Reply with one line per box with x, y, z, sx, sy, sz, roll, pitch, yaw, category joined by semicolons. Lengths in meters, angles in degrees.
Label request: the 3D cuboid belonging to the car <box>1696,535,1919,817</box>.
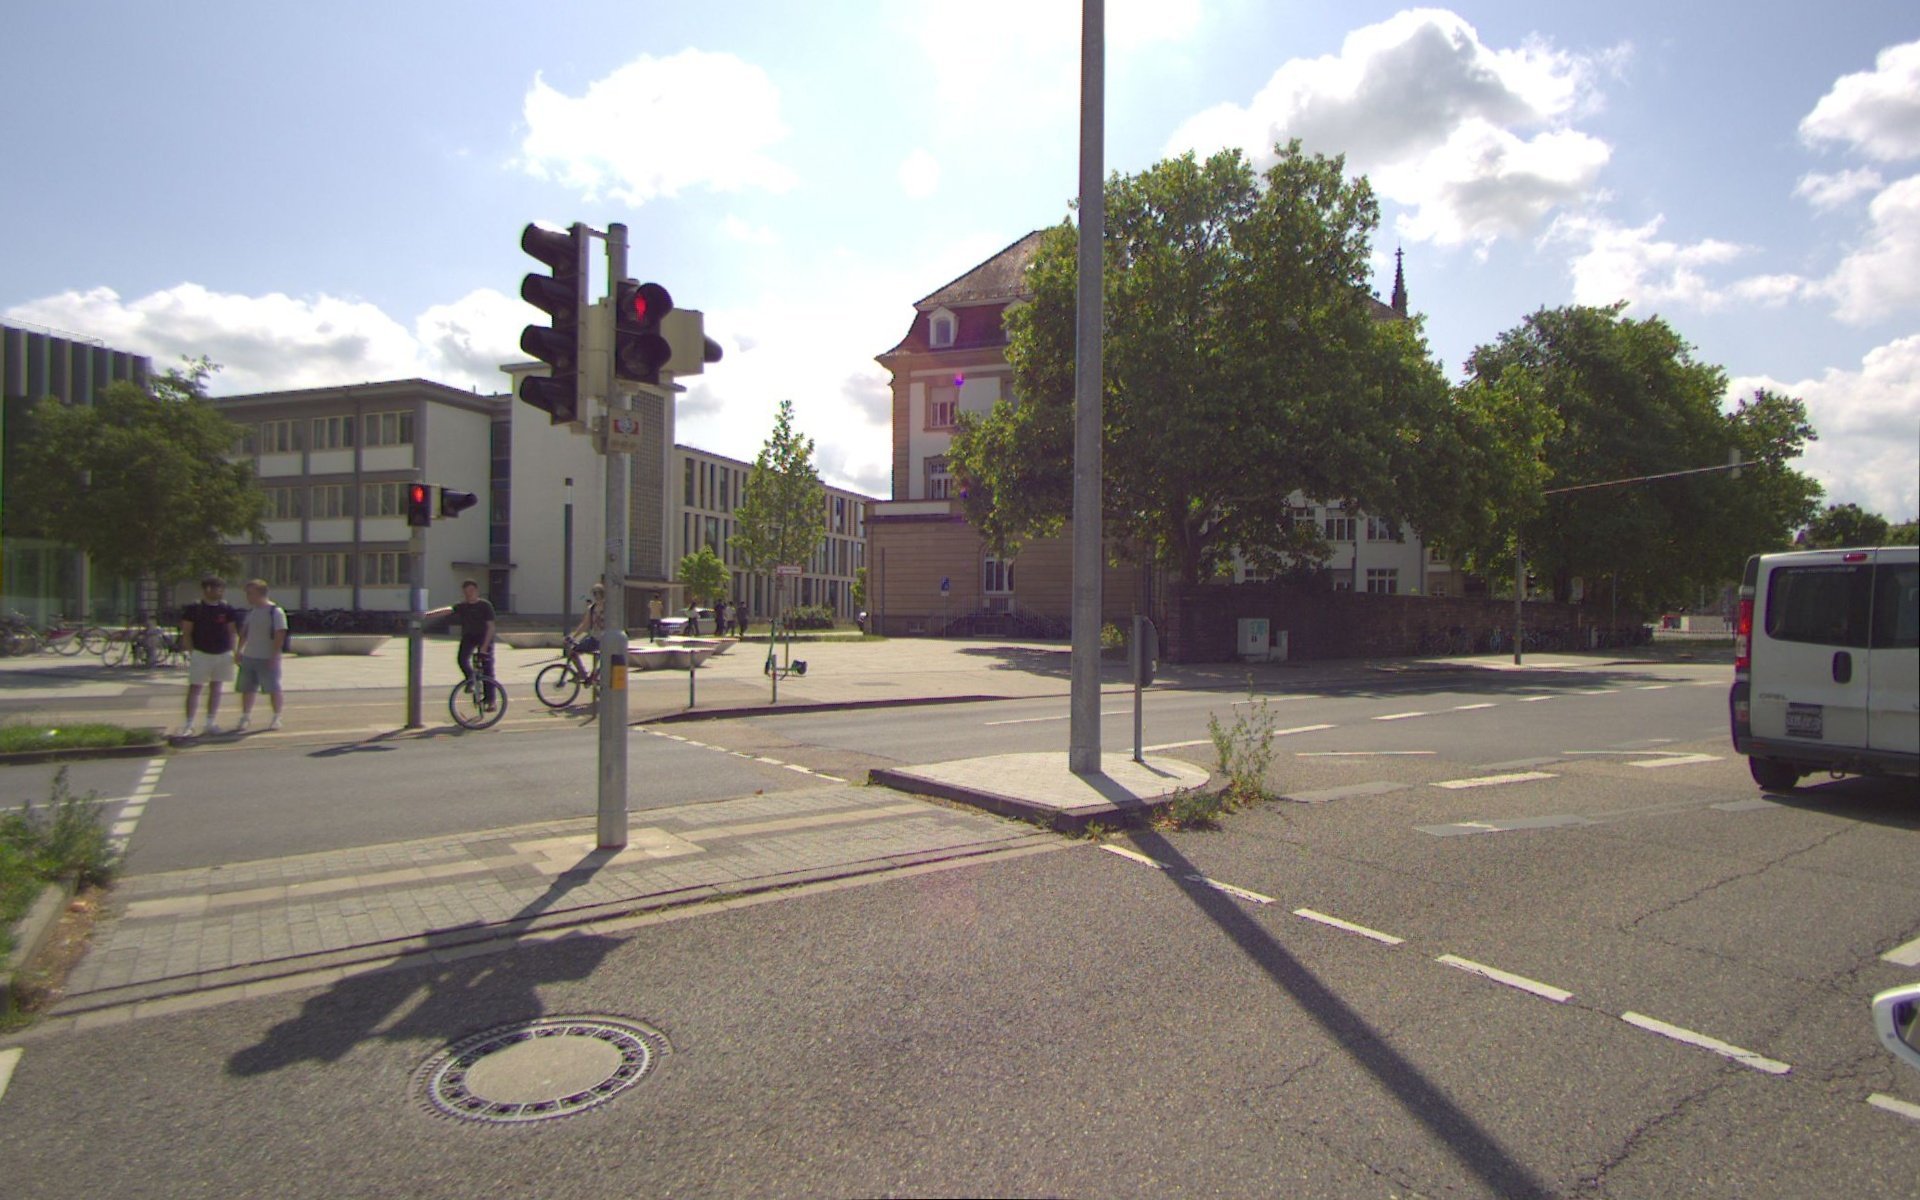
8.754;0.576;8.742;5.136;1.981;1.995;1;0;-32;car

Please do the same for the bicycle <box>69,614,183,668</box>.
-15.932;0.781;19.208;1.738;0.968;0.529;1;0;2;bicycle

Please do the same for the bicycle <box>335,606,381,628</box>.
-27.312;0.778;45.563;0.519;0.968;1.772;3;0;26;bicycle

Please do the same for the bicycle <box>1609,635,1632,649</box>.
36.921;2.359;56.146;0.987;0.691;0.409;2;1;16;bicycle

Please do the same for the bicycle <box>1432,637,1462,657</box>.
18.900;1.826;38.990;0.989;0.691;0.408;2;1;29;bicycle

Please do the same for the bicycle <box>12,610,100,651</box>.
-22.563;0.756;25.086;1.738;0.968;0.529;1;0;2;bicycle

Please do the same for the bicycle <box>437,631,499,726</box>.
-6.581;1.009;13.455;0.686;1.139;1.660;1;0;-26;bicycle

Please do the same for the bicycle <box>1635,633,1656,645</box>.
43.393;2.441;63.583;0.987;0.691;0.409;2;1;16;bicycle

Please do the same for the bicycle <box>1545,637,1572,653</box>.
28.113;2.103;47.199;0.987;0.691;0.409;2;1;16;bicycle

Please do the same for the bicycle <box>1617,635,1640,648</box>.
38.900;2.414;58.456;0.987;0.691;0.409;2;1;16;bicycle

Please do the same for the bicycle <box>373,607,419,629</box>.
-25.160;0.816;44.845;0.519;0.968;1.771;3;0;28;bicycle

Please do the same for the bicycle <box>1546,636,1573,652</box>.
28.550;2.112;47.860;0.987;0.691;0.409;2;1;16;bicycle

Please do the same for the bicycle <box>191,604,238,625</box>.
-35.626;0.717;48.016;0.519;0.968;1.772;3;0;26;bicycle

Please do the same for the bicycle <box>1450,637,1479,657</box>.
19.999;1.861;39.828;0.989;0.691;0.408;2;1;29;bicycle

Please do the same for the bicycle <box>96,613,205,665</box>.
-15.947;0.760;19.804;1.738;0.968;0.529;1;0;2;bicycle

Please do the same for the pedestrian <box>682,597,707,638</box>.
-11.880;0.781;45.006;0.798;1.814;0.844;1;0;9;pedestrian

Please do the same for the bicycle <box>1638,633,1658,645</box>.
45.856;2.605;66.951;0.987;0.691;0.409;2;1;16;bicycle

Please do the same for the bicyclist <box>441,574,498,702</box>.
-6.571;0.496;13.462;0.649;1.637;0.993;1;0;-26;bicyclist

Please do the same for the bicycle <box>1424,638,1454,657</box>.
18.296;1.809;38.346;0.989;0.691;0.408;2;1;29;bicycle

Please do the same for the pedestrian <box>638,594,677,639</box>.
-11.493;0.622;38.115;1.281;1.673;1.318;1;0;-23;pedestrian

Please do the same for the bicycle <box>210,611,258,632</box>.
-34.409;1.016;47.636;0.519;0.968;1.772;3;0;26;bicycle

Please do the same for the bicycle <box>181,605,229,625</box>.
-36.391;0.732;48.454;0.519;0.968;1.772;3;0;26;bicycle

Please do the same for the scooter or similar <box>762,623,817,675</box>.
-3.694;1.049;21.750;1.130;1.081;0.402;1;0;27;scooter or similar

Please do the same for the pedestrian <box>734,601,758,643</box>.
-9.579;0.981;44.903;0.848;1.814;0.844;1;0;1;pedestrian

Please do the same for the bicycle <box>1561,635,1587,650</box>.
30.382;2.092;49.684;0.987;0.691;0.409;2;1;16;bicycle

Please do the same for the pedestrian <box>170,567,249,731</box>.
-8.859;0.563;11.861;0.472;1.866;0.630;2;0;39;pedestrian

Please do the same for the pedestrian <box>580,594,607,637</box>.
-15.718;0.652;43.095;0.664;1.814;0.843;1;0;20;pedestrian

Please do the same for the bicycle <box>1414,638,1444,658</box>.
17.505;1.787;37.496;0.989;0.691;0.408;2;1;29;bicycle

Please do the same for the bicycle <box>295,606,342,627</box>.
-29.700;0.773;46.518;0.519;0.968;1.772;3;0;26;bicycle

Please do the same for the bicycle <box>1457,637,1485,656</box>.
20.748;1.881;40.772;0.989;0.691;0.408;2;1;29;bicycle

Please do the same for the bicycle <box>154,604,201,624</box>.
-38.432;0.695;49.355;0.519;0.968;1.772;3;0;26;bicycle

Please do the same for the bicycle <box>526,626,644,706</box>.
-5.763;0.979;15.526;0.682;1.139;1.668;1;0;29;bicycle

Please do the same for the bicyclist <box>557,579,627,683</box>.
-5.710;0.468;15.603;0.645;1.559;0.784;1;0;29;bicyclist

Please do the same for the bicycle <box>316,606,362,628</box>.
-28.468;0.781;46.097;0.519;0.968;1.772;3;0;26;bicycle

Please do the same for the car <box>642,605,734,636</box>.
-13.177;0.963;48.967;1.961;1.323;4.492;2;1;22;car

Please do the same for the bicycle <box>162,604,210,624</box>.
-37.769;0.684;49.051;0.519;0.968;1.772;3;0;26;bicycle

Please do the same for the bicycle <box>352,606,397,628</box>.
-26.343;0.769;45.218;0.519;0.968;1.772;3;0;26;bicycle

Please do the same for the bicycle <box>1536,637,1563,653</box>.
27.173;2.075;46.317;0.987;0.691;0.409;2;1;16;bicycle

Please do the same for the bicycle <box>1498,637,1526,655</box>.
23.840;1.975;43.392;0.987;0.691;0.409;2;1;16;bicycle

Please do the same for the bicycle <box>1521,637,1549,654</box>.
25.928;2.037;45.287;0.987;0.691;0.409;2;1;16;bicycle

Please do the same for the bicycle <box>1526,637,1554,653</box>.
26.382;2.051;45.708;0.987;0.691;0.409;2;1;16;bicycle

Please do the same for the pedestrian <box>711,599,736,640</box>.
-10.605;0.855;45.023;0.875;1.814;0.844;1;0;1;pedestrian

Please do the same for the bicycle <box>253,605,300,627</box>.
-31.978;0.750;46.985;0.519;0.968;1.772;3;0;26;bicycle

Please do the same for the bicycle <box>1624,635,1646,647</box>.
40.333;2.455;60.033;0.987;0.691;0.409;2;1;16;bicycle

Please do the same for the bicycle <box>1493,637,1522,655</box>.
23.333;1.961;42.815;0.987;0.691;0.409;2;1;16;bicycle

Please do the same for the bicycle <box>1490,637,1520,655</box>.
22.923;1.950;42.262;0.987;0.691;0.409;2;1;16;bicycle

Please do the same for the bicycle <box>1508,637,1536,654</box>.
25.031;2.008;44.721;0.987;0.691;0.409;2;1;16;bicycle

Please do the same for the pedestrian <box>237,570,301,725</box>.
-8.509;0.572;12.367;0.571;1.866;0.411;1;0;-41;pedestrian

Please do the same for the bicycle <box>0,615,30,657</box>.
-23.159;0.842;23.809;1.738;0.968;0.529;1;0;2;bicycle

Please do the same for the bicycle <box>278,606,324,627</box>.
-30.730;0.771;46.844;0.519;0.968;1.772;3;0;26;bicycle
